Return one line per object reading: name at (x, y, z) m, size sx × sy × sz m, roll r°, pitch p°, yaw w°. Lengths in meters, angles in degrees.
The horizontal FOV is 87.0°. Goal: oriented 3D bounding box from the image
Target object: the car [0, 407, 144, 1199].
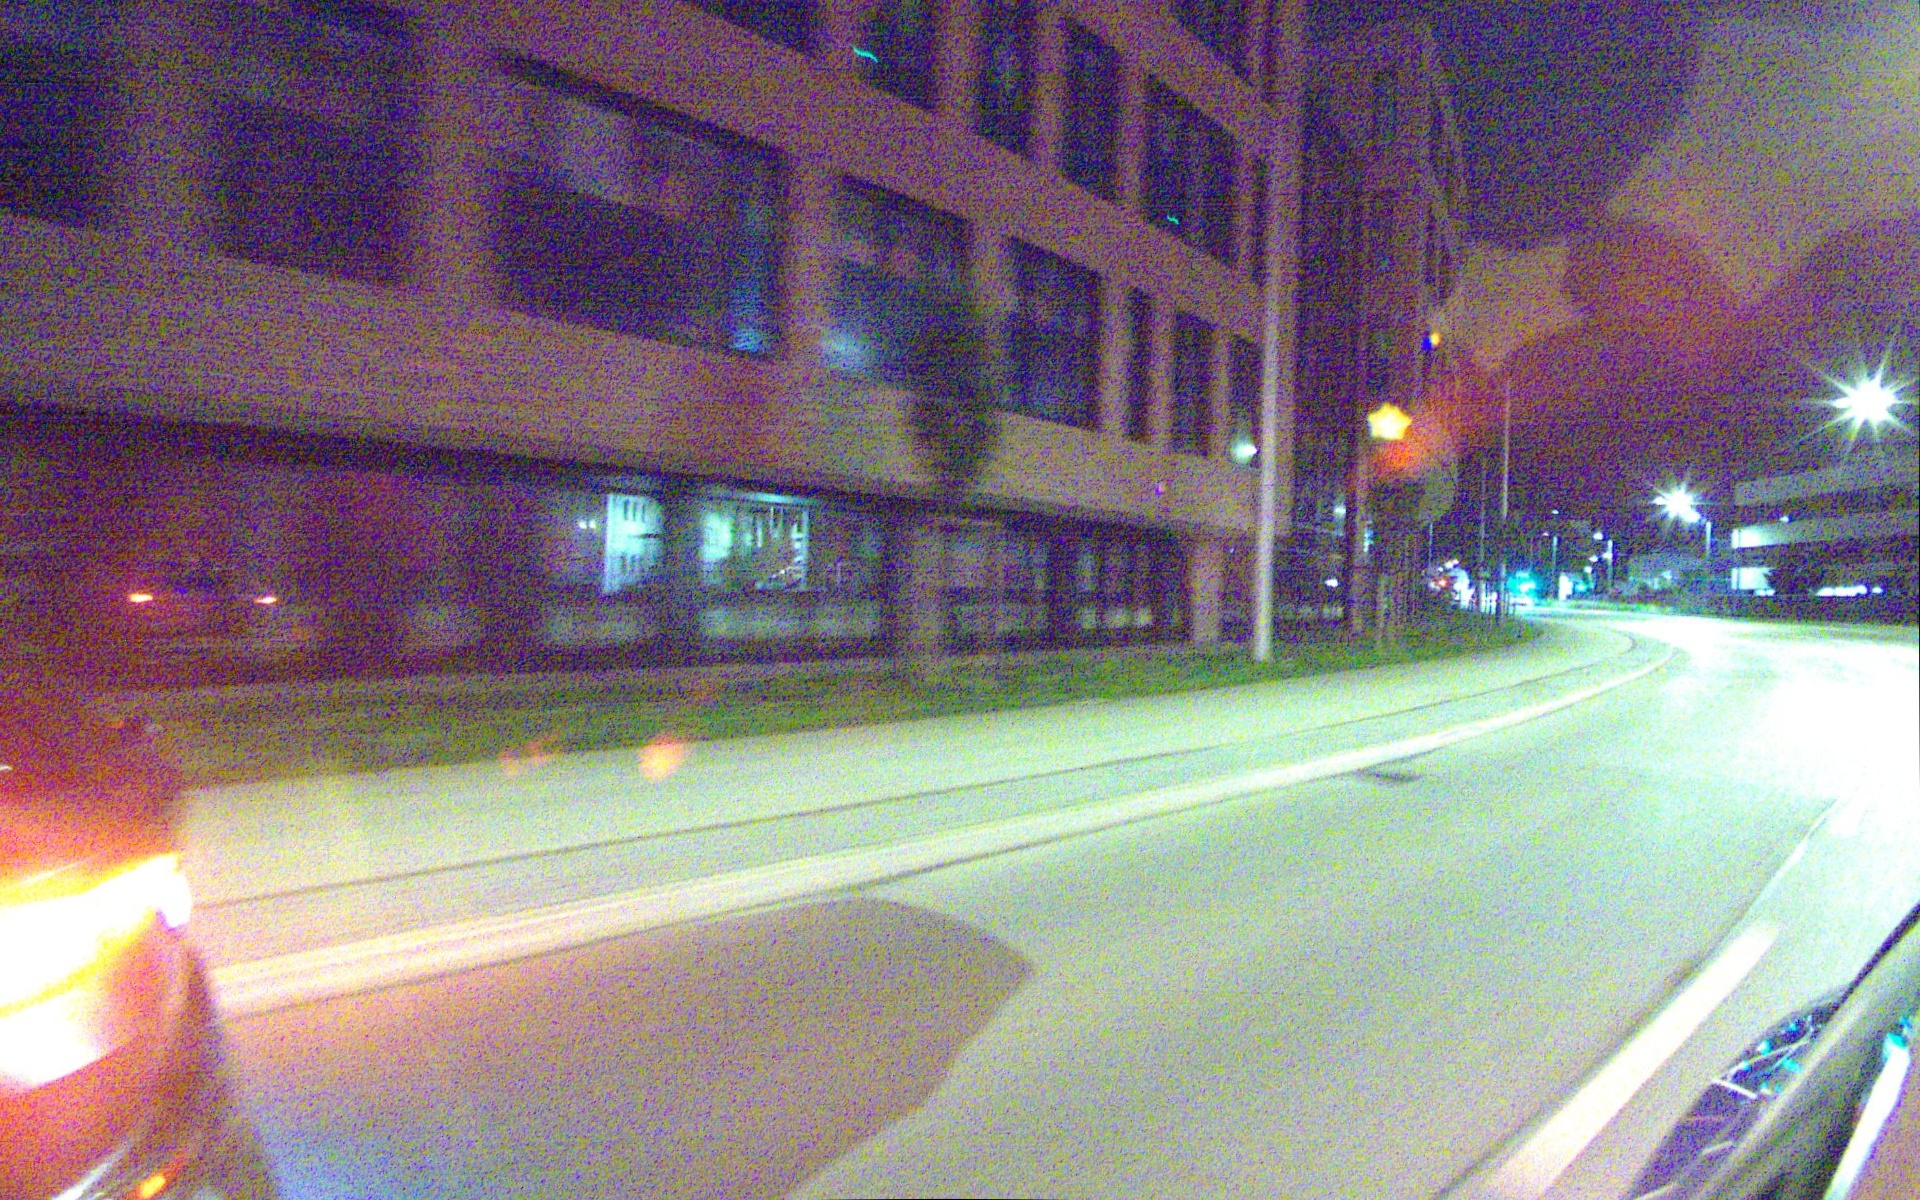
car at (-3.240, 0.588, 0.696) m, size 4.155 × 1.631 × 1.673 m, roll -1°, pitch 0°, yaw -40°
